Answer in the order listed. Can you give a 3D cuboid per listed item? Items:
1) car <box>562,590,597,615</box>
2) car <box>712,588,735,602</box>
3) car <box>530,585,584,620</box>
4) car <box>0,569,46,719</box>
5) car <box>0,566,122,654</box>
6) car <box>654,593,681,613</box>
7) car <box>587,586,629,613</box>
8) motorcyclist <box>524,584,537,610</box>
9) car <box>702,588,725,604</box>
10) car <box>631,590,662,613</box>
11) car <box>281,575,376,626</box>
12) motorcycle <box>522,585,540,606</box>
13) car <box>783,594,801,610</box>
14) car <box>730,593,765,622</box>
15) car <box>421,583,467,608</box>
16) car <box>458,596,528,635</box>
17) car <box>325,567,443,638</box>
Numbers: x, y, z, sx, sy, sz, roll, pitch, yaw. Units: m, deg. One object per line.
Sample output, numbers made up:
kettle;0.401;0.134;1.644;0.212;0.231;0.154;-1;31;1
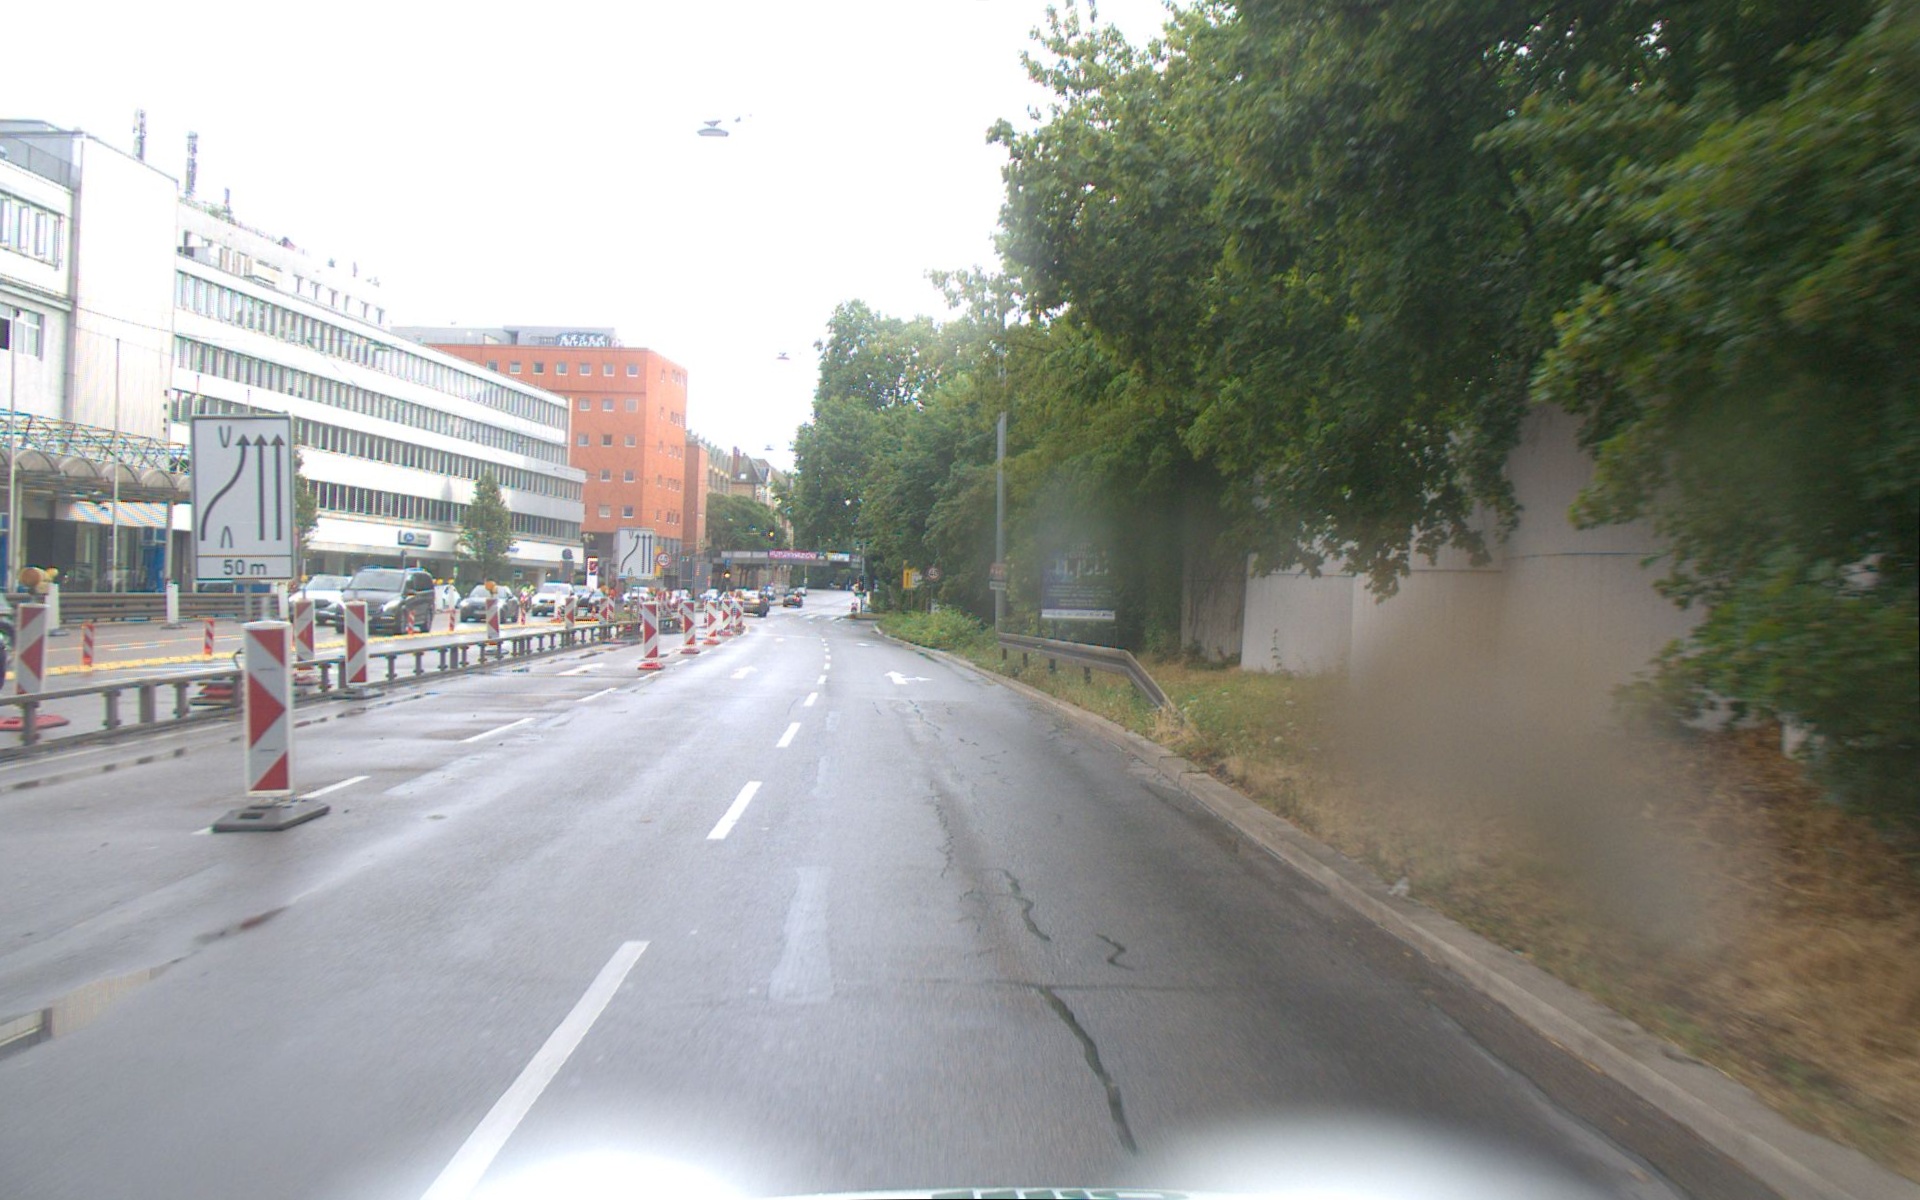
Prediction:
car;-24.922;0.162;108.464;1.677;1.563;4.073;1;0;-5
car;-23.771;-0.477;166.295;1.654;1.378;4.115;1;0;2
car;-20.259;0.112;83.295;1.900;1.719;4.576;1;0;-5
car;-11.477;0.459;16.597;1.908;1.625;4.670;4;1;0
car;-15.835;0.142;27.161;1.761;1.375;4.811;1;0;-1
car;-22.615;0.255;127.928;1.702;1.428;4.284;2;0;-5
car;-21.123;-0.060;99.416;1.921;1.547;4.296;2;0;-5
motorcyclist;-23.553;-0.153;90.643;0.576;1.387;0.560;1;0;-5
car;-26.281;-0.449;176.448;1.771;1.585;4.301;2;0;0
car;-25.529;0.123;134.770;1.941;1.737;4.826;2;0;-5
car;-21.064;0.025;55.327;1.712;1.613;4.262;1;0;-3
motorcycle;-23.557;-0.238;90.894;0.567;1.121;2.026;1;0;-4
car;-17.926;0.192;176.768;1.728;1.726;3.703;1;0;-3
car;-14.836;0.529;115.624;2.080;1.764;4.194;4;1;-5
car;-32.518;-0.264;104.312;1.618;1.562;3.756;1;0;1
car;-18.858;0.596;67.004;1.815;1.492;4.703;1;0;-4
car;-16.898;0.065;48.777;1.954;1.970;5.227;0;0;-4
